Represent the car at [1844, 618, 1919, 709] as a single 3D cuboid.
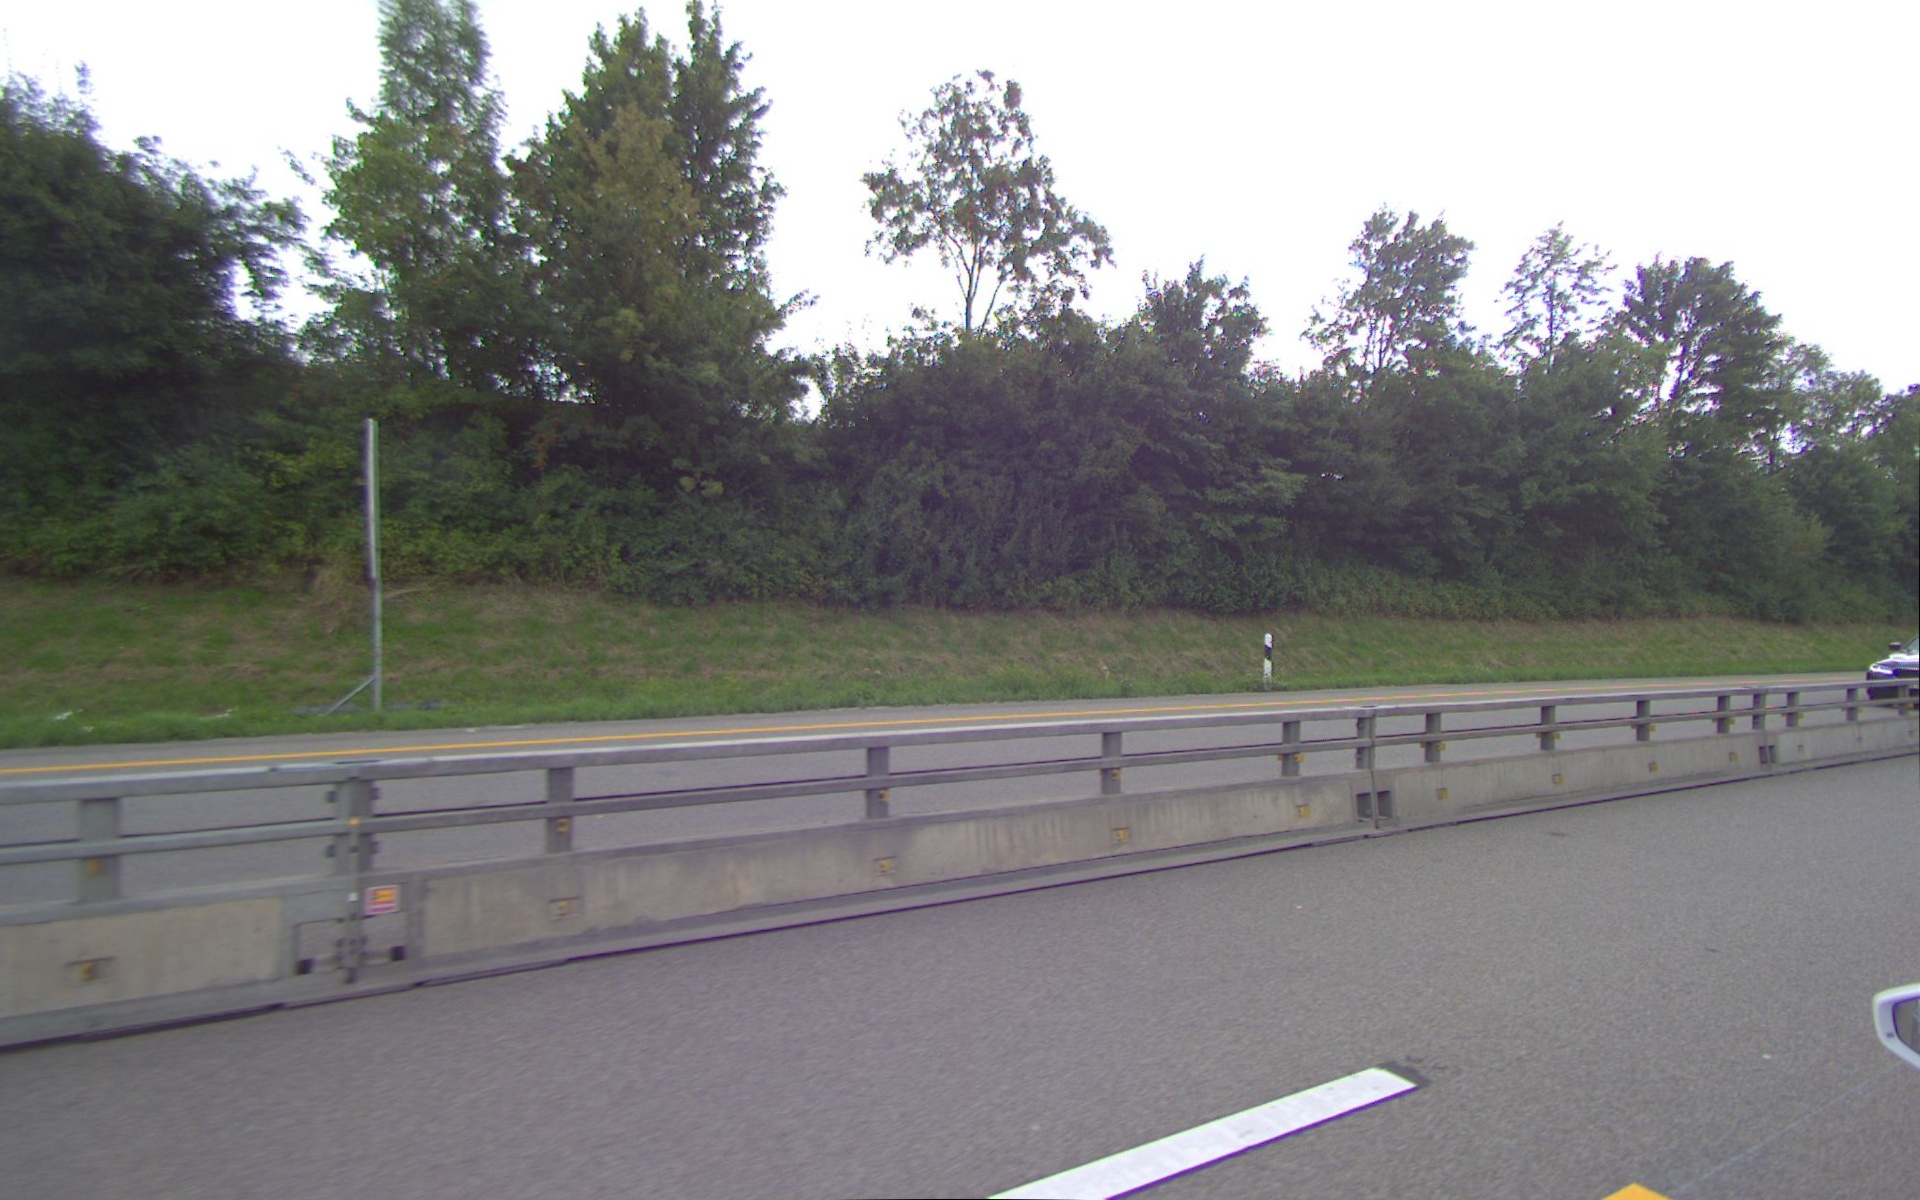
[{"bbox_3d":[18.311,1.132,18.338,4.846,1.519,1.988,1,0,-32],"label":"car"}]
